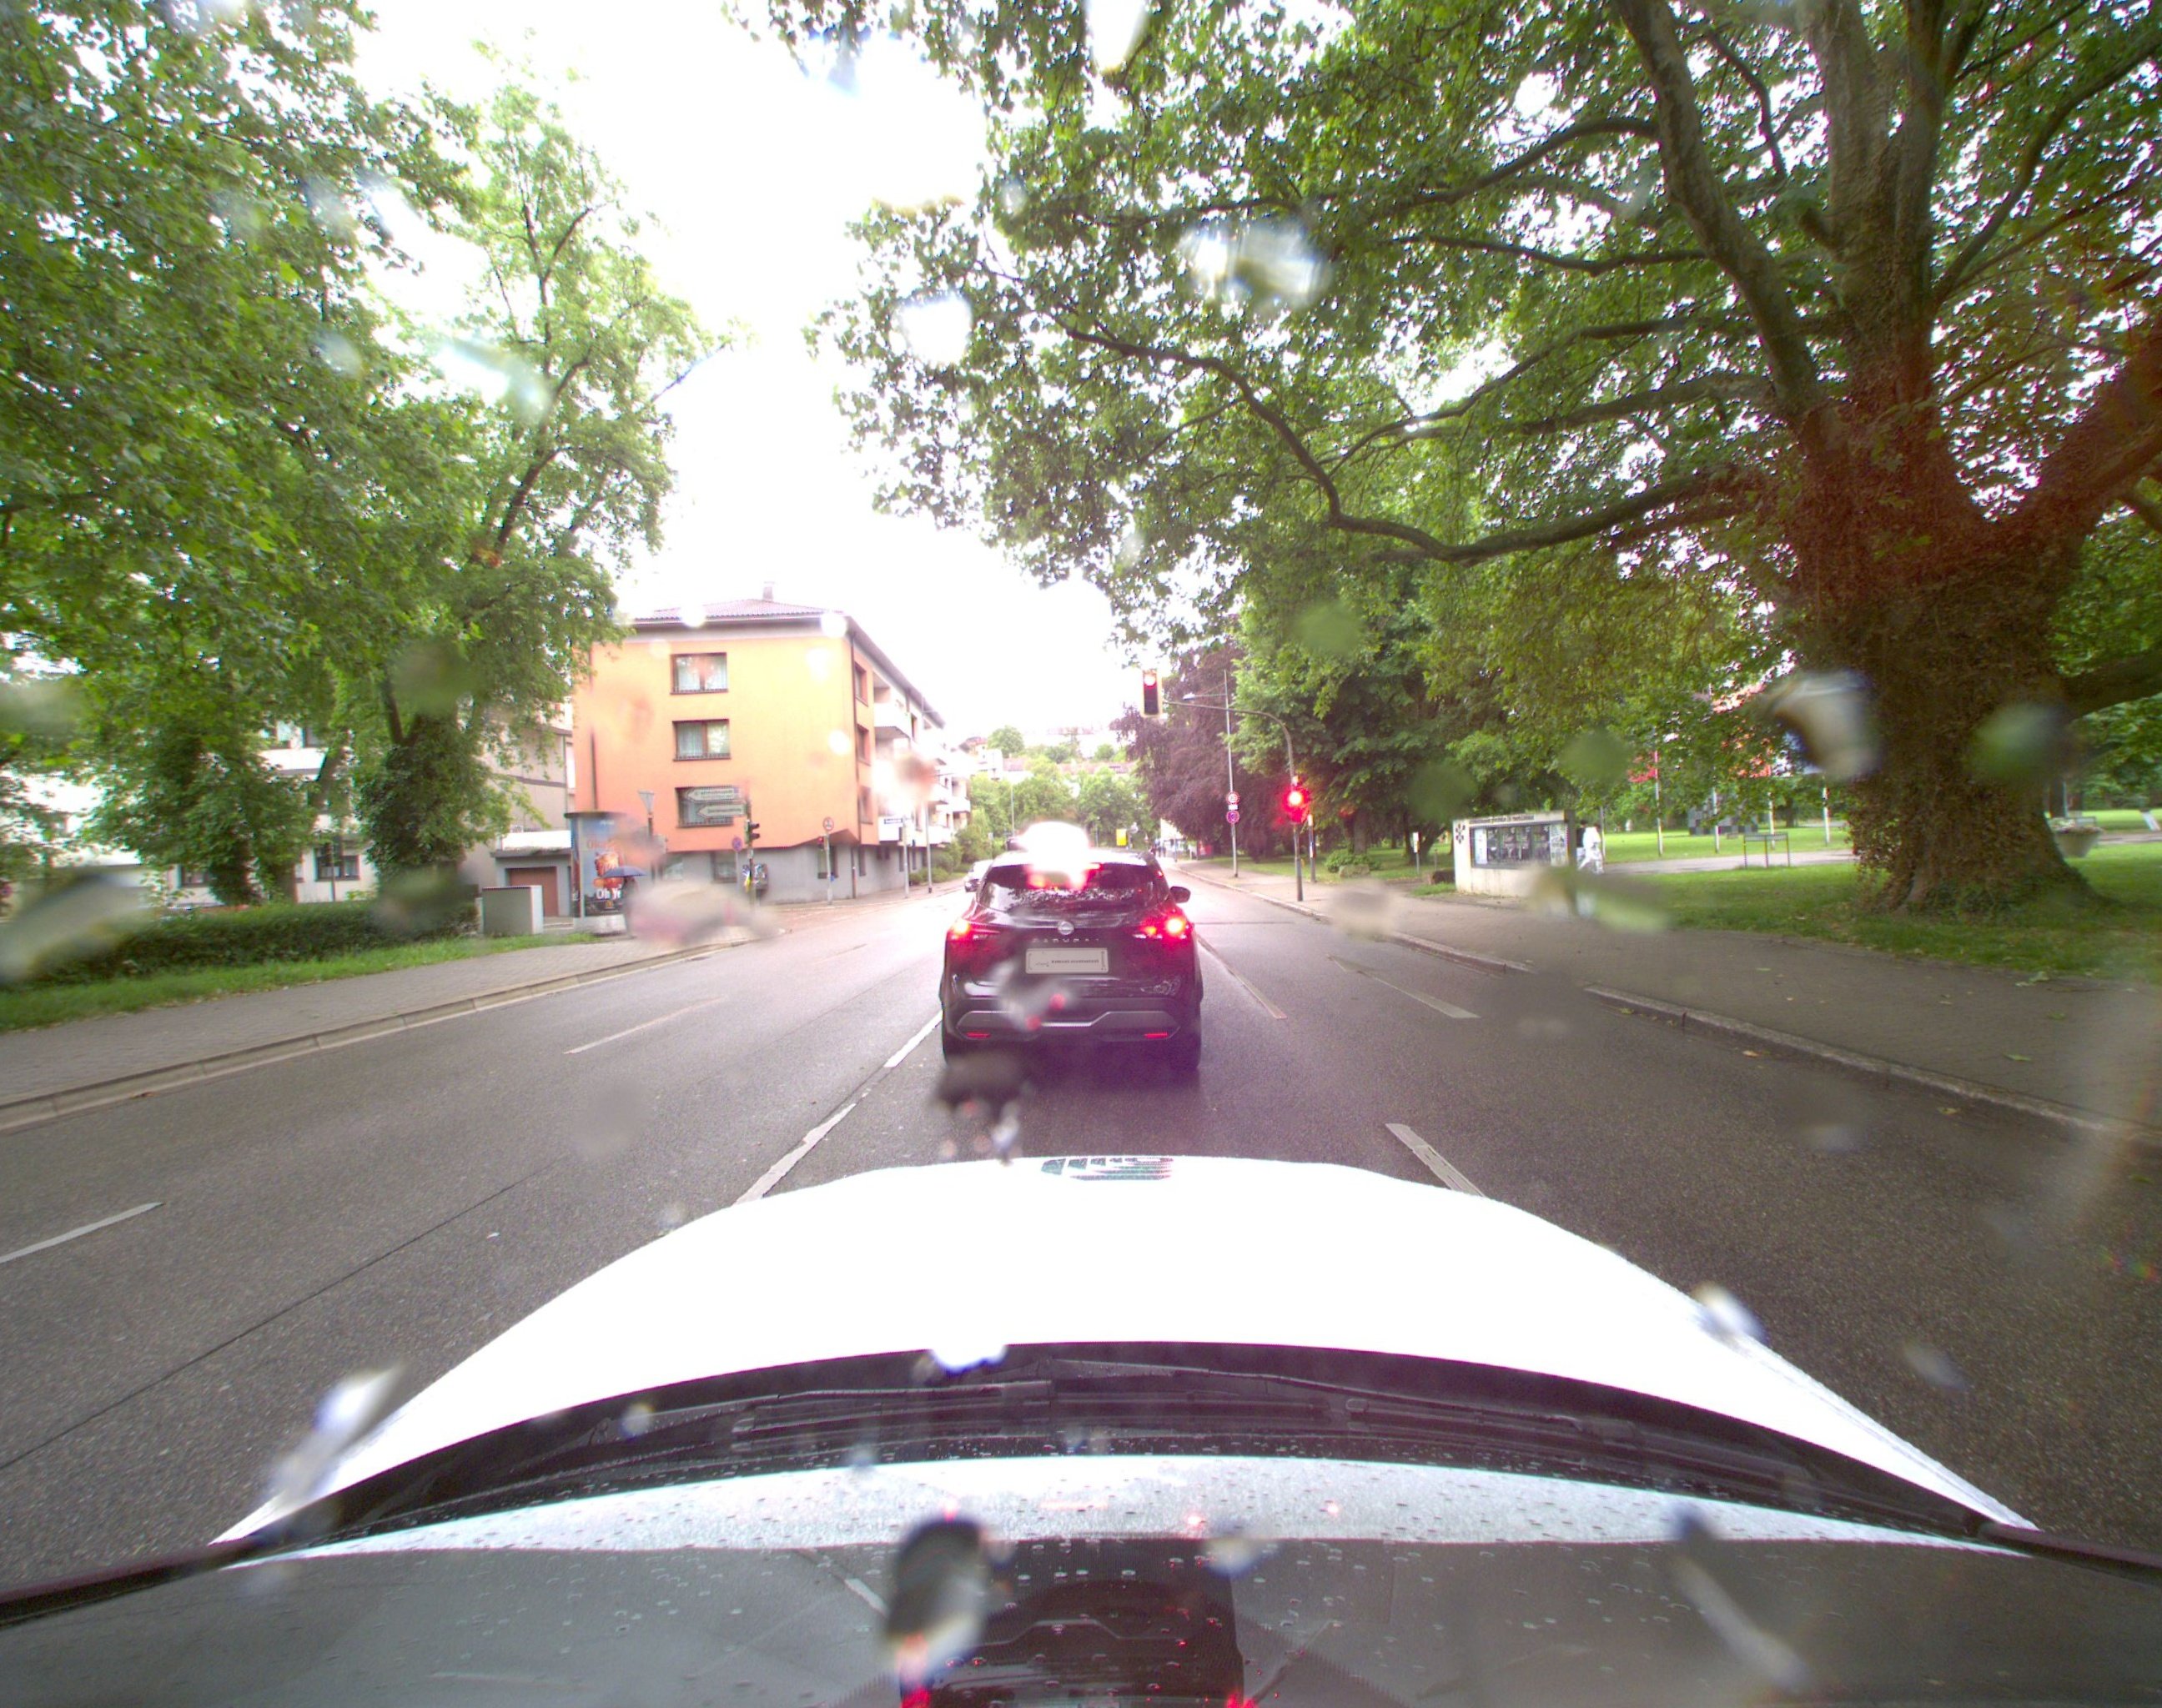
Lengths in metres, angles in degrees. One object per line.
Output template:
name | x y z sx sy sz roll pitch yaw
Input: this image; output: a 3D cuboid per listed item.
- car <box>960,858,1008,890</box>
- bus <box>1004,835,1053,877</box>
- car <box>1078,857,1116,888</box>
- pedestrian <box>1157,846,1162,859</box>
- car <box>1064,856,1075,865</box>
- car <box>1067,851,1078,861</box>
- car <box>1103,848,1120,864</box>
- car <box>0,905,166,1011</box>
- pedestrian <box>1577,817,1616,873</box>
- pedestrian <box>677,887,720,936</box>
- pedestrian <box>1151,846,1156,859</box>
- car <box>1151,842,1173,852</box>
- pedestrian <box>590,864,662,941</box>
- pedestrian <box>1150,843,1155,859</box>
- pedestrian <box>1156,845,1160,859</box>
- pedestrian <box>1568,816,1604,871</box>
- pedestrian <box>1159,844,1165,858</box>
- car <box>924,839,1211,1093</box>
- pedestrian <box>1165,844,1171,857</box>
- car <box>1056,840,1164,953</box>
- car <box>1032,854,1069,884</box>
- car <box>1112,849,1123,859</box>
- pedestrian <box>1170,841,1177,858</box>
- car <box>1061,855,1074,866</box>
car | -4.834 0.971 41.204 1.802 1.417 4.031 -4 0 1
bus | -4.076 0.146 66.253 2.756 2.974 11.786 -3 0 2
car | 0.813 0.921 41.275 1.802 1.417 4.031 -2 0 1
pedestrian | 9.883 -0.233 102.525 0.696 1.651 0.628 0 -1 2
car | -1.839 1.110 133.178 1.671 1.296 3.752 -4 0 1
car | -1.478 0.412 142.894 1.743 1.633 3.636 -3 0 2
car | 3.154 0.196 83.271 1.618 1.415 3.456 -3 0 2
car | -18.013 1.708 13.786 3.182 1.524 1.507 2 -1 -1
pedestrian | 16.013 -0.267 25.290 0.663 1.712 0.788 0 -1 -7
pedestrian | -9.622 1.433 20.503 0.681 1.175 0.827 -1 0 1
pedestrian | 9.099 -0.228 102.433 0.542 1.651 0.490 0 -1 2
car | 16.391 -1.347 164.053 3.986 1.684 1.994 -3 0 -9
pedestrian | -10.789 1.125 19.360 0.988 1.742 1.210 -1 0 1
pedestrian | 9.970 -0.410 113.342 0.764 2.183 0.712 0 -1 5
pedestrian | 9.520 -0.224 100.998 0.513 1.655 0.550 0 -1 1
pedestrian | 16.193 -0.330 26.115 0.663 1.756 0.722 0 -1 -7
pedestrian | 10.812 -0.388 109.067 0.616 1.779 0.551 -3 0 1
car | -0.026 0.723 7.129 1.799 1.590 4.001 0 -1 2
pedestrian | 11.696 -0.460 109.640 0.616 1.779 0.551 -3 0 1
car | 0.578 0.674 14.838 1.615 1.709 3.774 -3 0 3
car | -1.584 0.764 43.633 1.618 1.415 3.456 -3 0 2
car | 6.208 -0.028 137.056 1.743 1.633 3.636 -3 0 2
pedestrian | 10.381 -0.517 91.213 0.616 1.779 0.779 -3 0 1
car | -1.926 0.904 120.061 1.671 1.469 4.217 -4 0 1
